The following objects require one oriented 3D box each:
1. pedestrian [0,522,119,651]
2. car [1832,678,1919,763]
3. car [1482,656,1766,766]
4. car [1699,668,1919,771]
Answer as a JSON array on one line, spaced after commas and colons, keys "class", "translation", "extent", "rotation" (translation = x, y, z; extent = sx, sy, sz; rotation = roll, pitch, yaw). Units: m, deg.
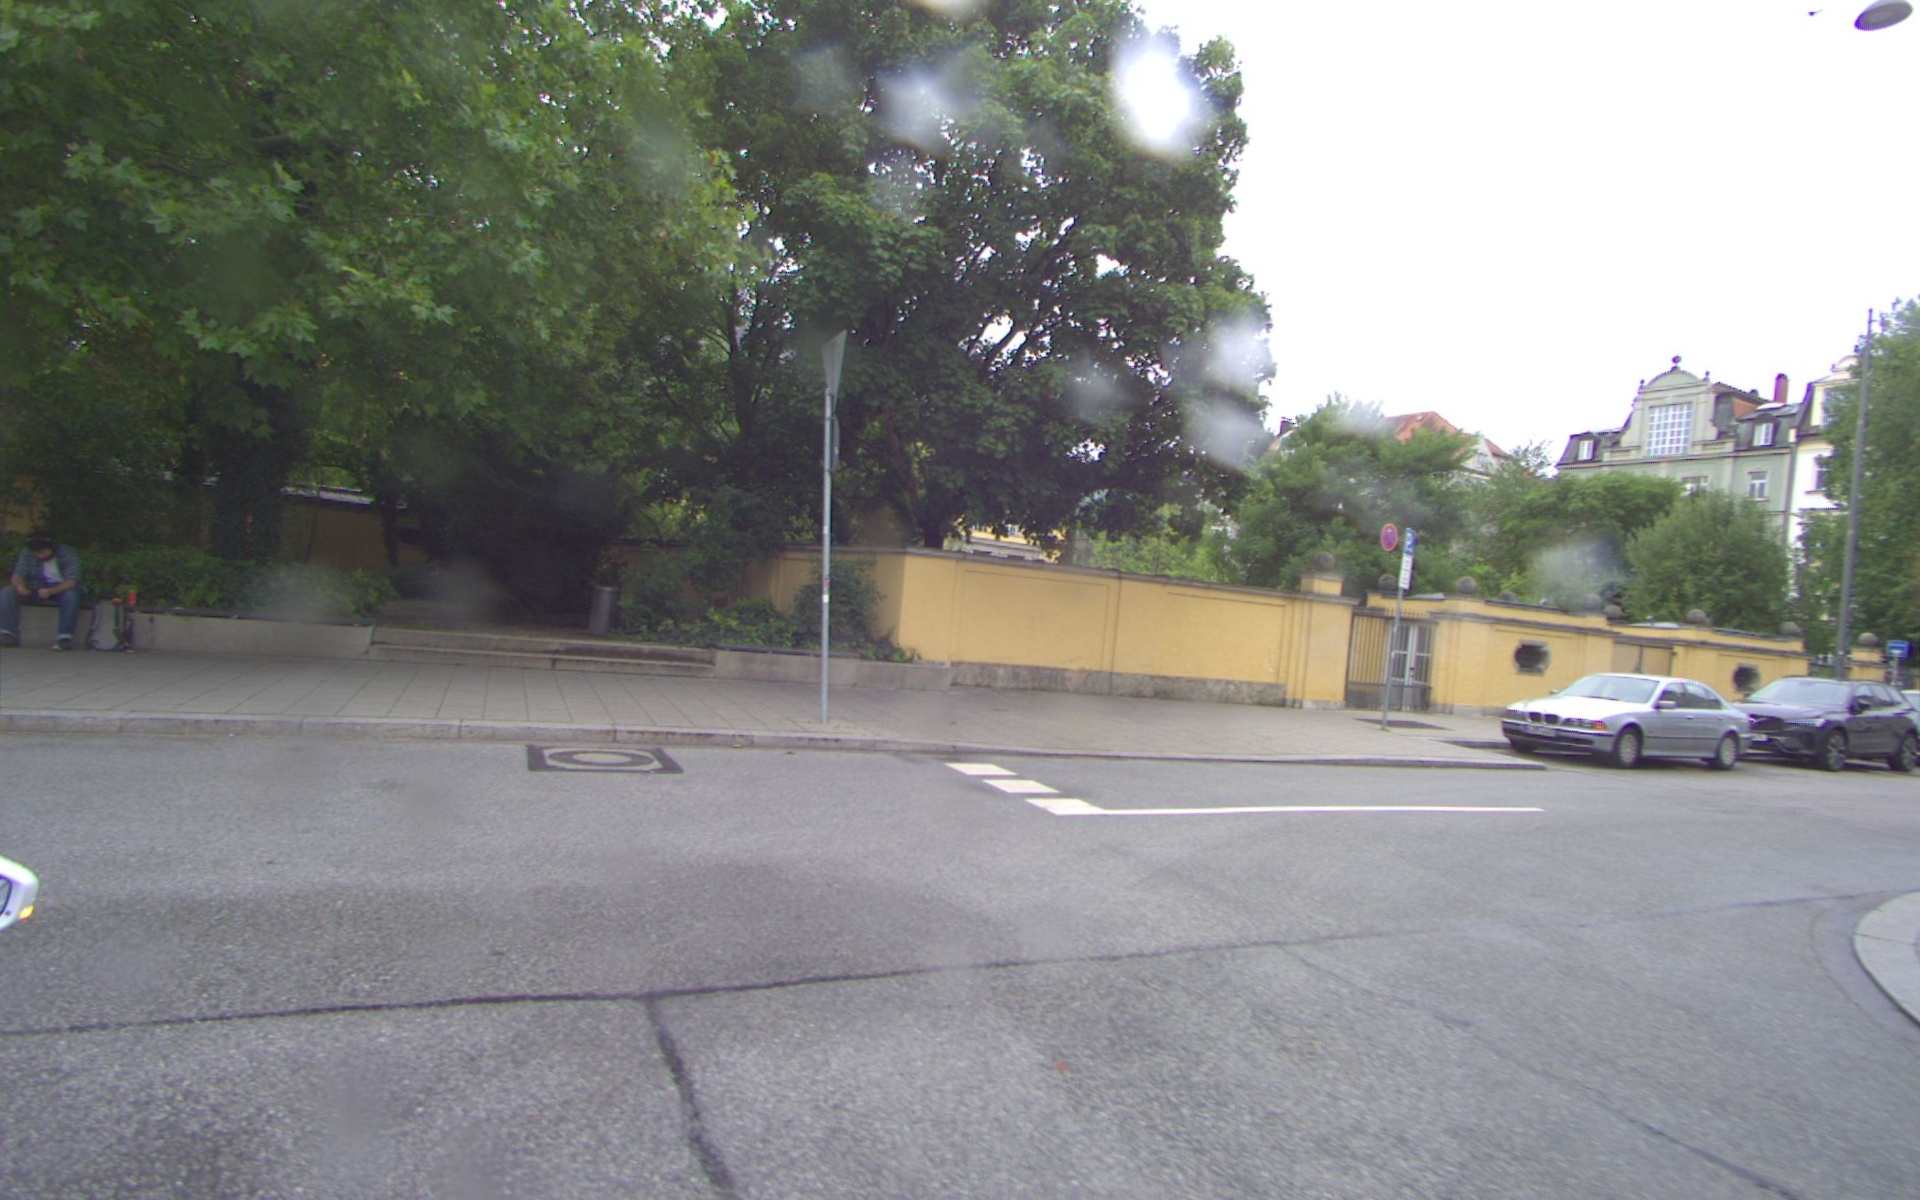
[{"class": "pedestrian", "translation": [-9.171, -0.141, 10.090], "extent": [0.802, 1.204, 0.915], "rotation": [4, 0, -21]}, {"class": "car", "translation": [20.760, 2.617, 21.416], "extent": [4.350, 1.549, 1.813], "rotation": [5, 0, -28]}, {"class": "car", "translation": [10.805, 1.818, 16.315], "extent": [4.516, 1.420, 1.813], "rotation": [5, 0, -28]}, {"class": "car", "translation": [16.091, 2.244, 18.784], "extent": [4.516, 1.549, 1.813], "rotation": [5, 0, -28]}]
